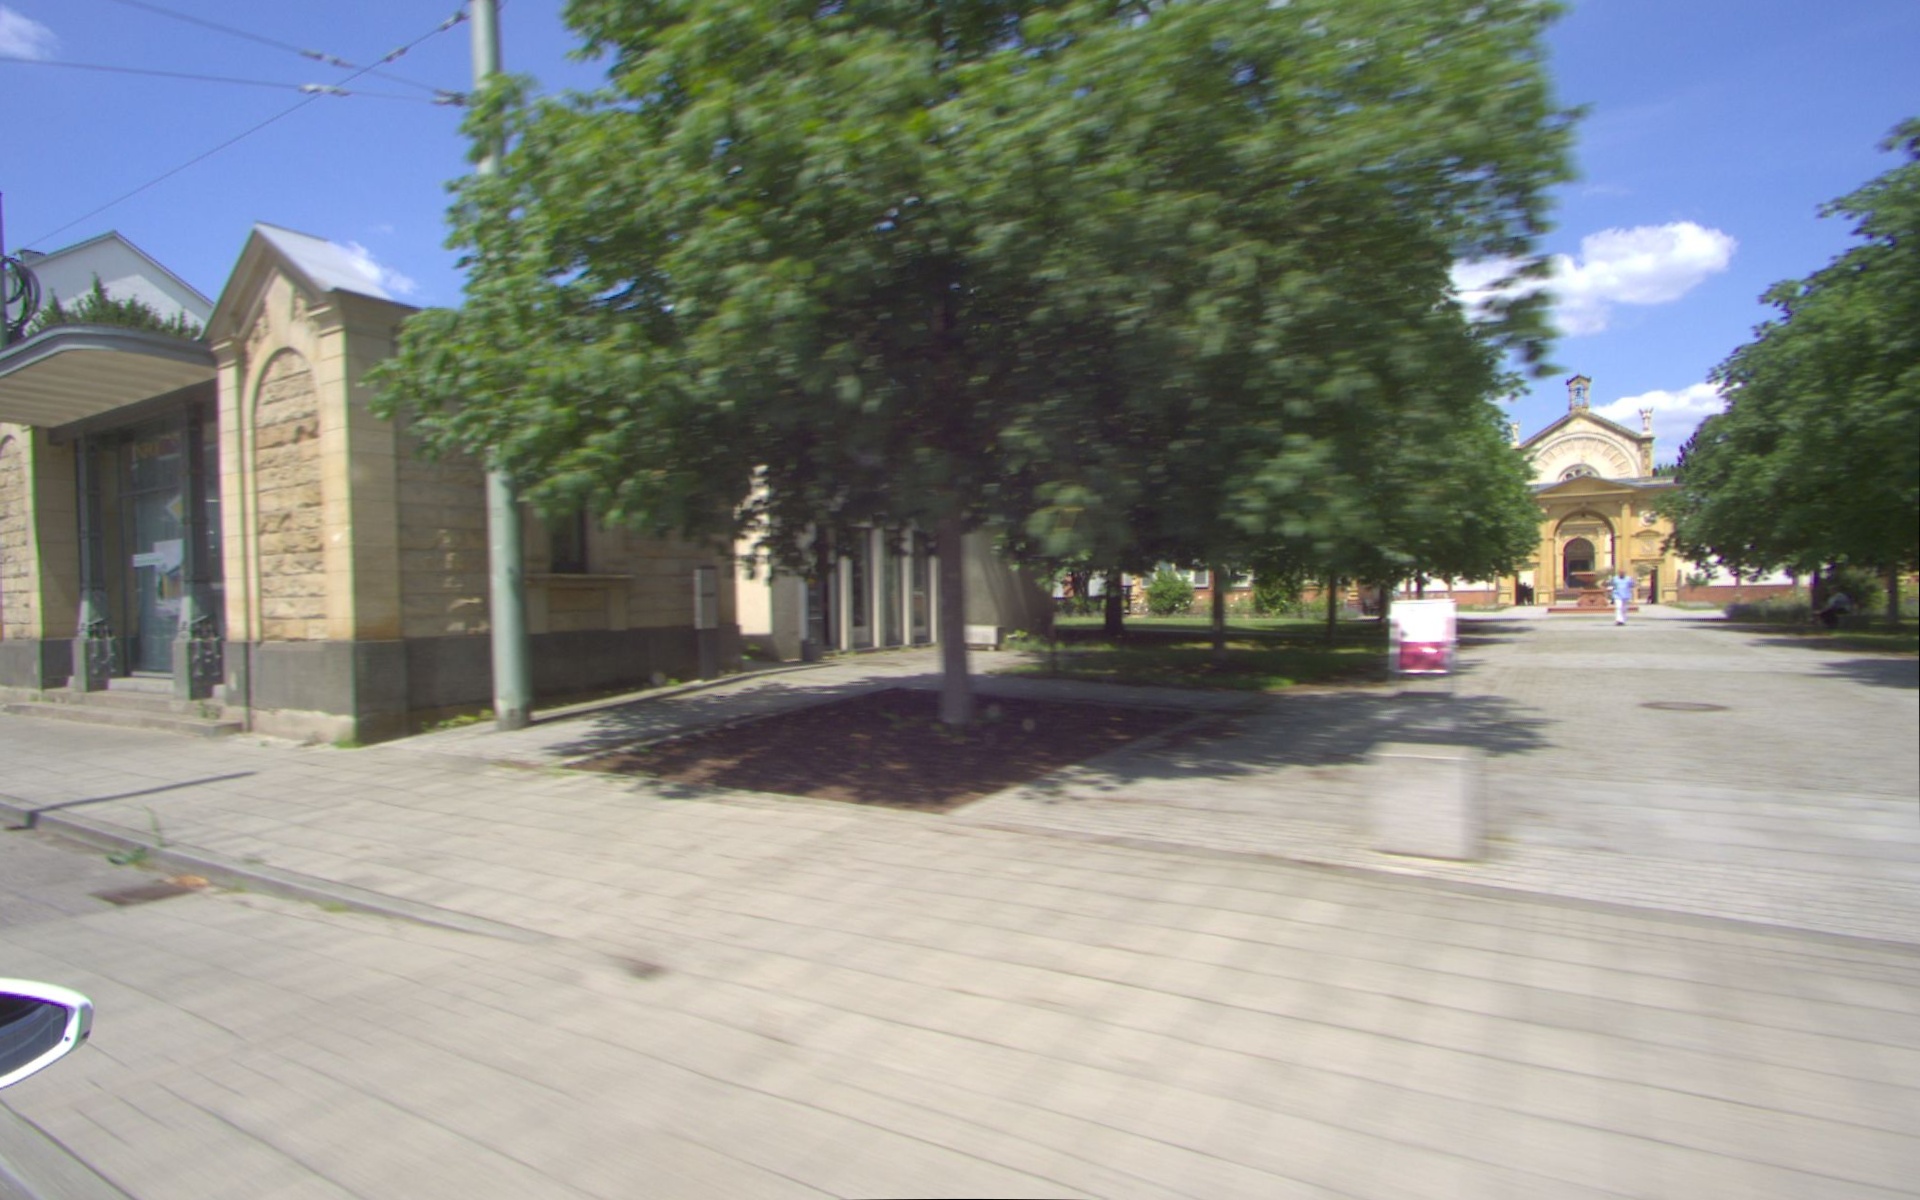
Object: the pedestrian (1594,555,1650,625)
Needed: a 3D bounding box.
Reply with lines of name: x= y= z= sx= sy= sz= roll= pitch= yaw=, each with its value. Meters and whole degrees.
pedestrian: x=20.037 y=-0.296 z=30.333 sx=1.237 sy=2.041 sz=0.822 roll=-2 pitch=2 yaw=21
